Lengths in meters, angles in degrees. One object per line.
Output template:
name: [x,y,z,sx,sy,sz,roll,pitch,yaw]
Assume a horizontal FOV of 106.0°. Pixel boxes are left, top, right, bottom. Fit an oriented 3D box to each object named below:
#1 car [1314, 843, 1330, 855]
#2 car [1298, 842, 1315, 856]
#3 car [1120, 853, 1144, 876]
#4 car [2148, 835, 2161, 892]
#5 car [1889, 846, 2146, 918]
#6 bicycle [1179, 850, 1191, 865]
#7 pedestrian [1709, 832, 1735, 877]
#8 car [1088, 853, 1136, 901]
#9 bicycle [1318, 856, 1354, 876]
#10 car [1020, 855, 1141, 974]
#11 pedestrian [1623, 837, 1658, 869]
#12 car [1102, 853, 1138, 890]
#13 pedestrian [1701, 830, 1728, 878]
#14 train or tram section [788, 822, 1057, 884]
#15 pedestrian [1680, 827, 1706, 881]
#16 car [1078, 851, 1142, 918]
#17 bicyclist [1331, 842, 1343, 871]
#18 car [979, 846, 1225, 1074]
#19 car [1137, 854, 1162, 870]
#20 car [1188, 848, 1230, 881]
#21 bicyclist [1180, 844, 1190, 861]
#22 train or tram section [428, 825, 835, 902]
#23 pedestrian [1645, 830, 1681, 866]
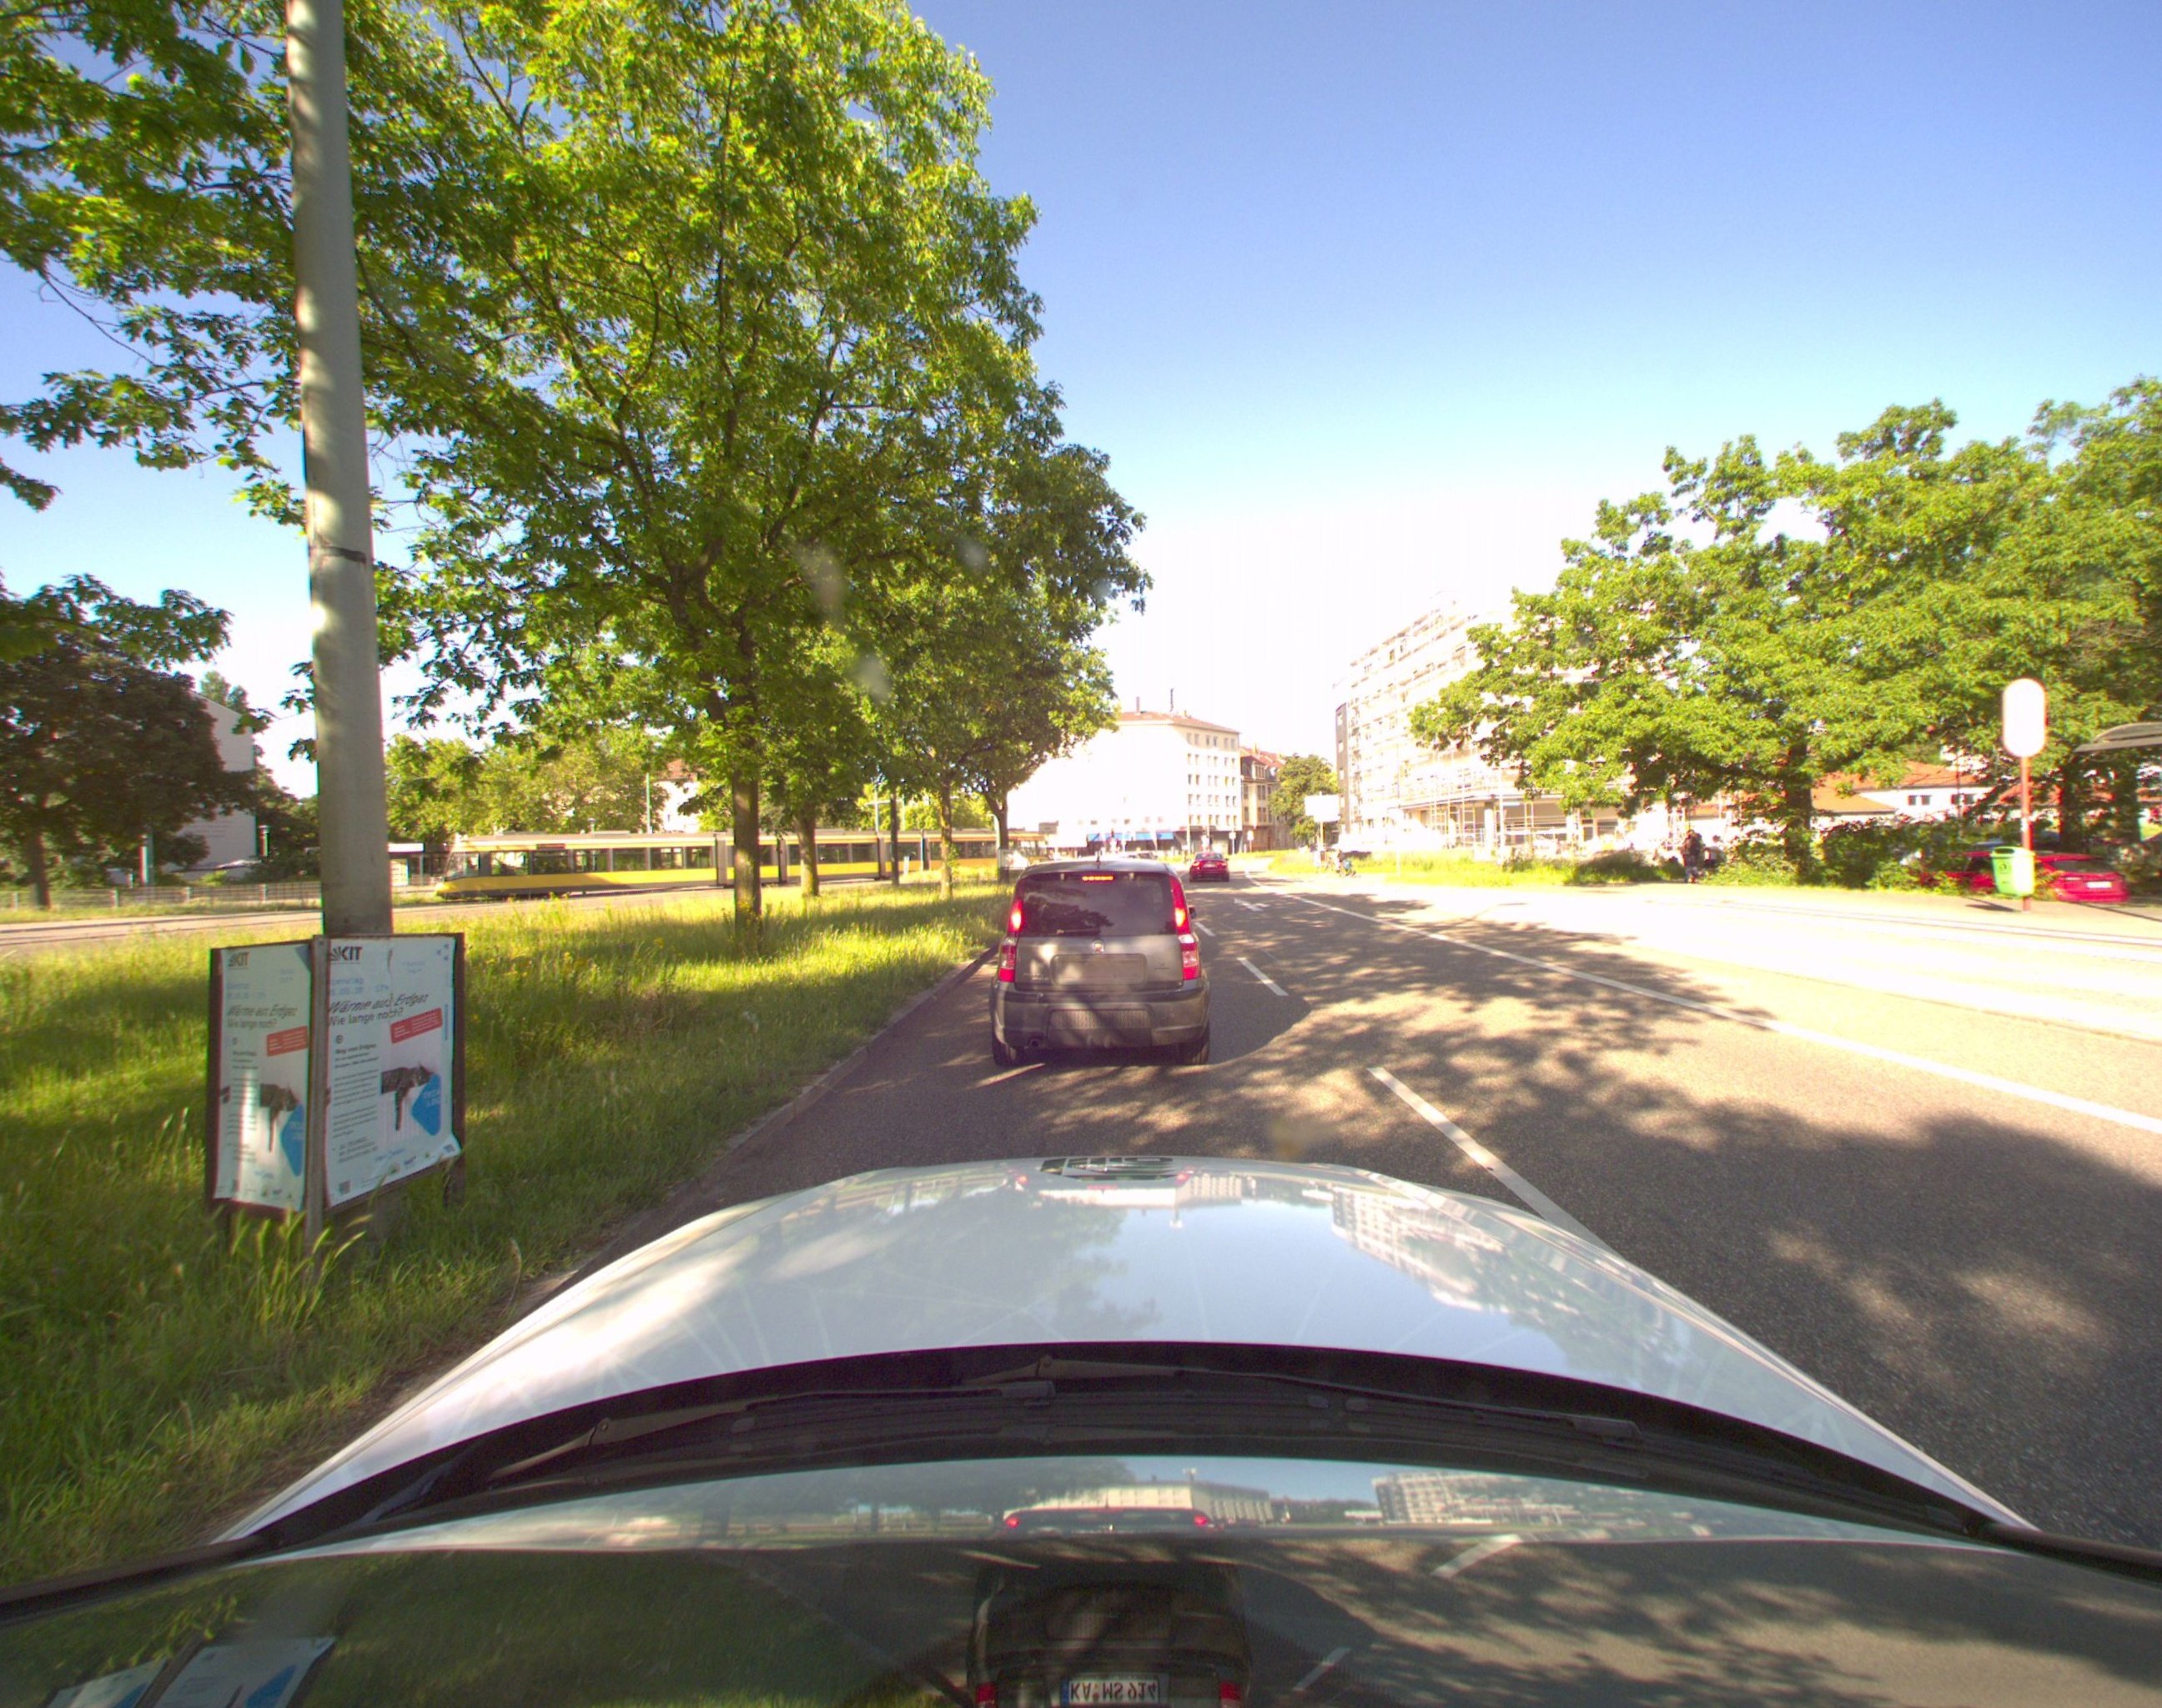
car: [27.746,-0.536,93.560,1.514,1.314,3.304,-2,0,20]
car: [24.920,-0.539,89.998,1.669,1.449,3.588,-2,0,18]
car: [3.099,0.623,49.686,1.351,1.281,2.877,-2,0,2]
car: [29.863,0.217,20.179,1.911,1.486,3.725,-2,0,-17]
car: [21.988,0.597,19.376,1.747,1.486,3.743,-2,0,-2]
bicycle: [8.659,0.291,67.849,0.706,1.198,2.520,0,-1,1]
pedestrian: [20.902,0.013,26.564,0.516,1.447,0.595,-2,0,28]
car: [1.030,0.731,27.342,1.458,1.424,3.383,-2,0,2]
bicycle: [13.161,0.619,42.074,1.776,0.945,0.562,-2,0,16]
car: [0.050,0.751,11.765,1.458,1.401,3.395,-2,0,2]
pedestrian: [25.963,-0.050,37.777,0.893,1.447,0.962,-2,0,-13]
car: [1.604,0.696,33.970,1.351,1.449,3.267,-2,0,2]
pedestrian: [19.327,-0.005,24.849,0.516,1.447,0.595,-2,0,28]
train or tram section: [-10.295,-0.308,58.441,3.264,3.770,20.937,-2,0,43]
pedestrian: [18.591,0.013,24.747,0.516,1.612,0.595,-2,0,28]
car: [0.727,0.701,20.797,1.458,1.508,3.506,-2,0,2]
bicyclist: [13.219,0.138,42.040,0.579,1.493,0.553,-2,0,17]
car: [0.206,0.706,7.537,1.622,1.508,4.002,-2,0,2]
car: [4.869,0.578,57.718,1.133,1.064,2.735,-2,0,19]
car: [6.125,0.474,39.350,1.877,1.428,4.396,-1,1,7]
bicyclist: [8.657,-0.115,67.768,0.739,1.438,0.845,0,-1,1]
train or tram section: [-24.038,0.294,45.720,19.469,3.513,3.270,-2,0,-36]
pedestrian: [27.147,-0.273,37.986,0.888,1.653,0.984,-2,0,-9]
